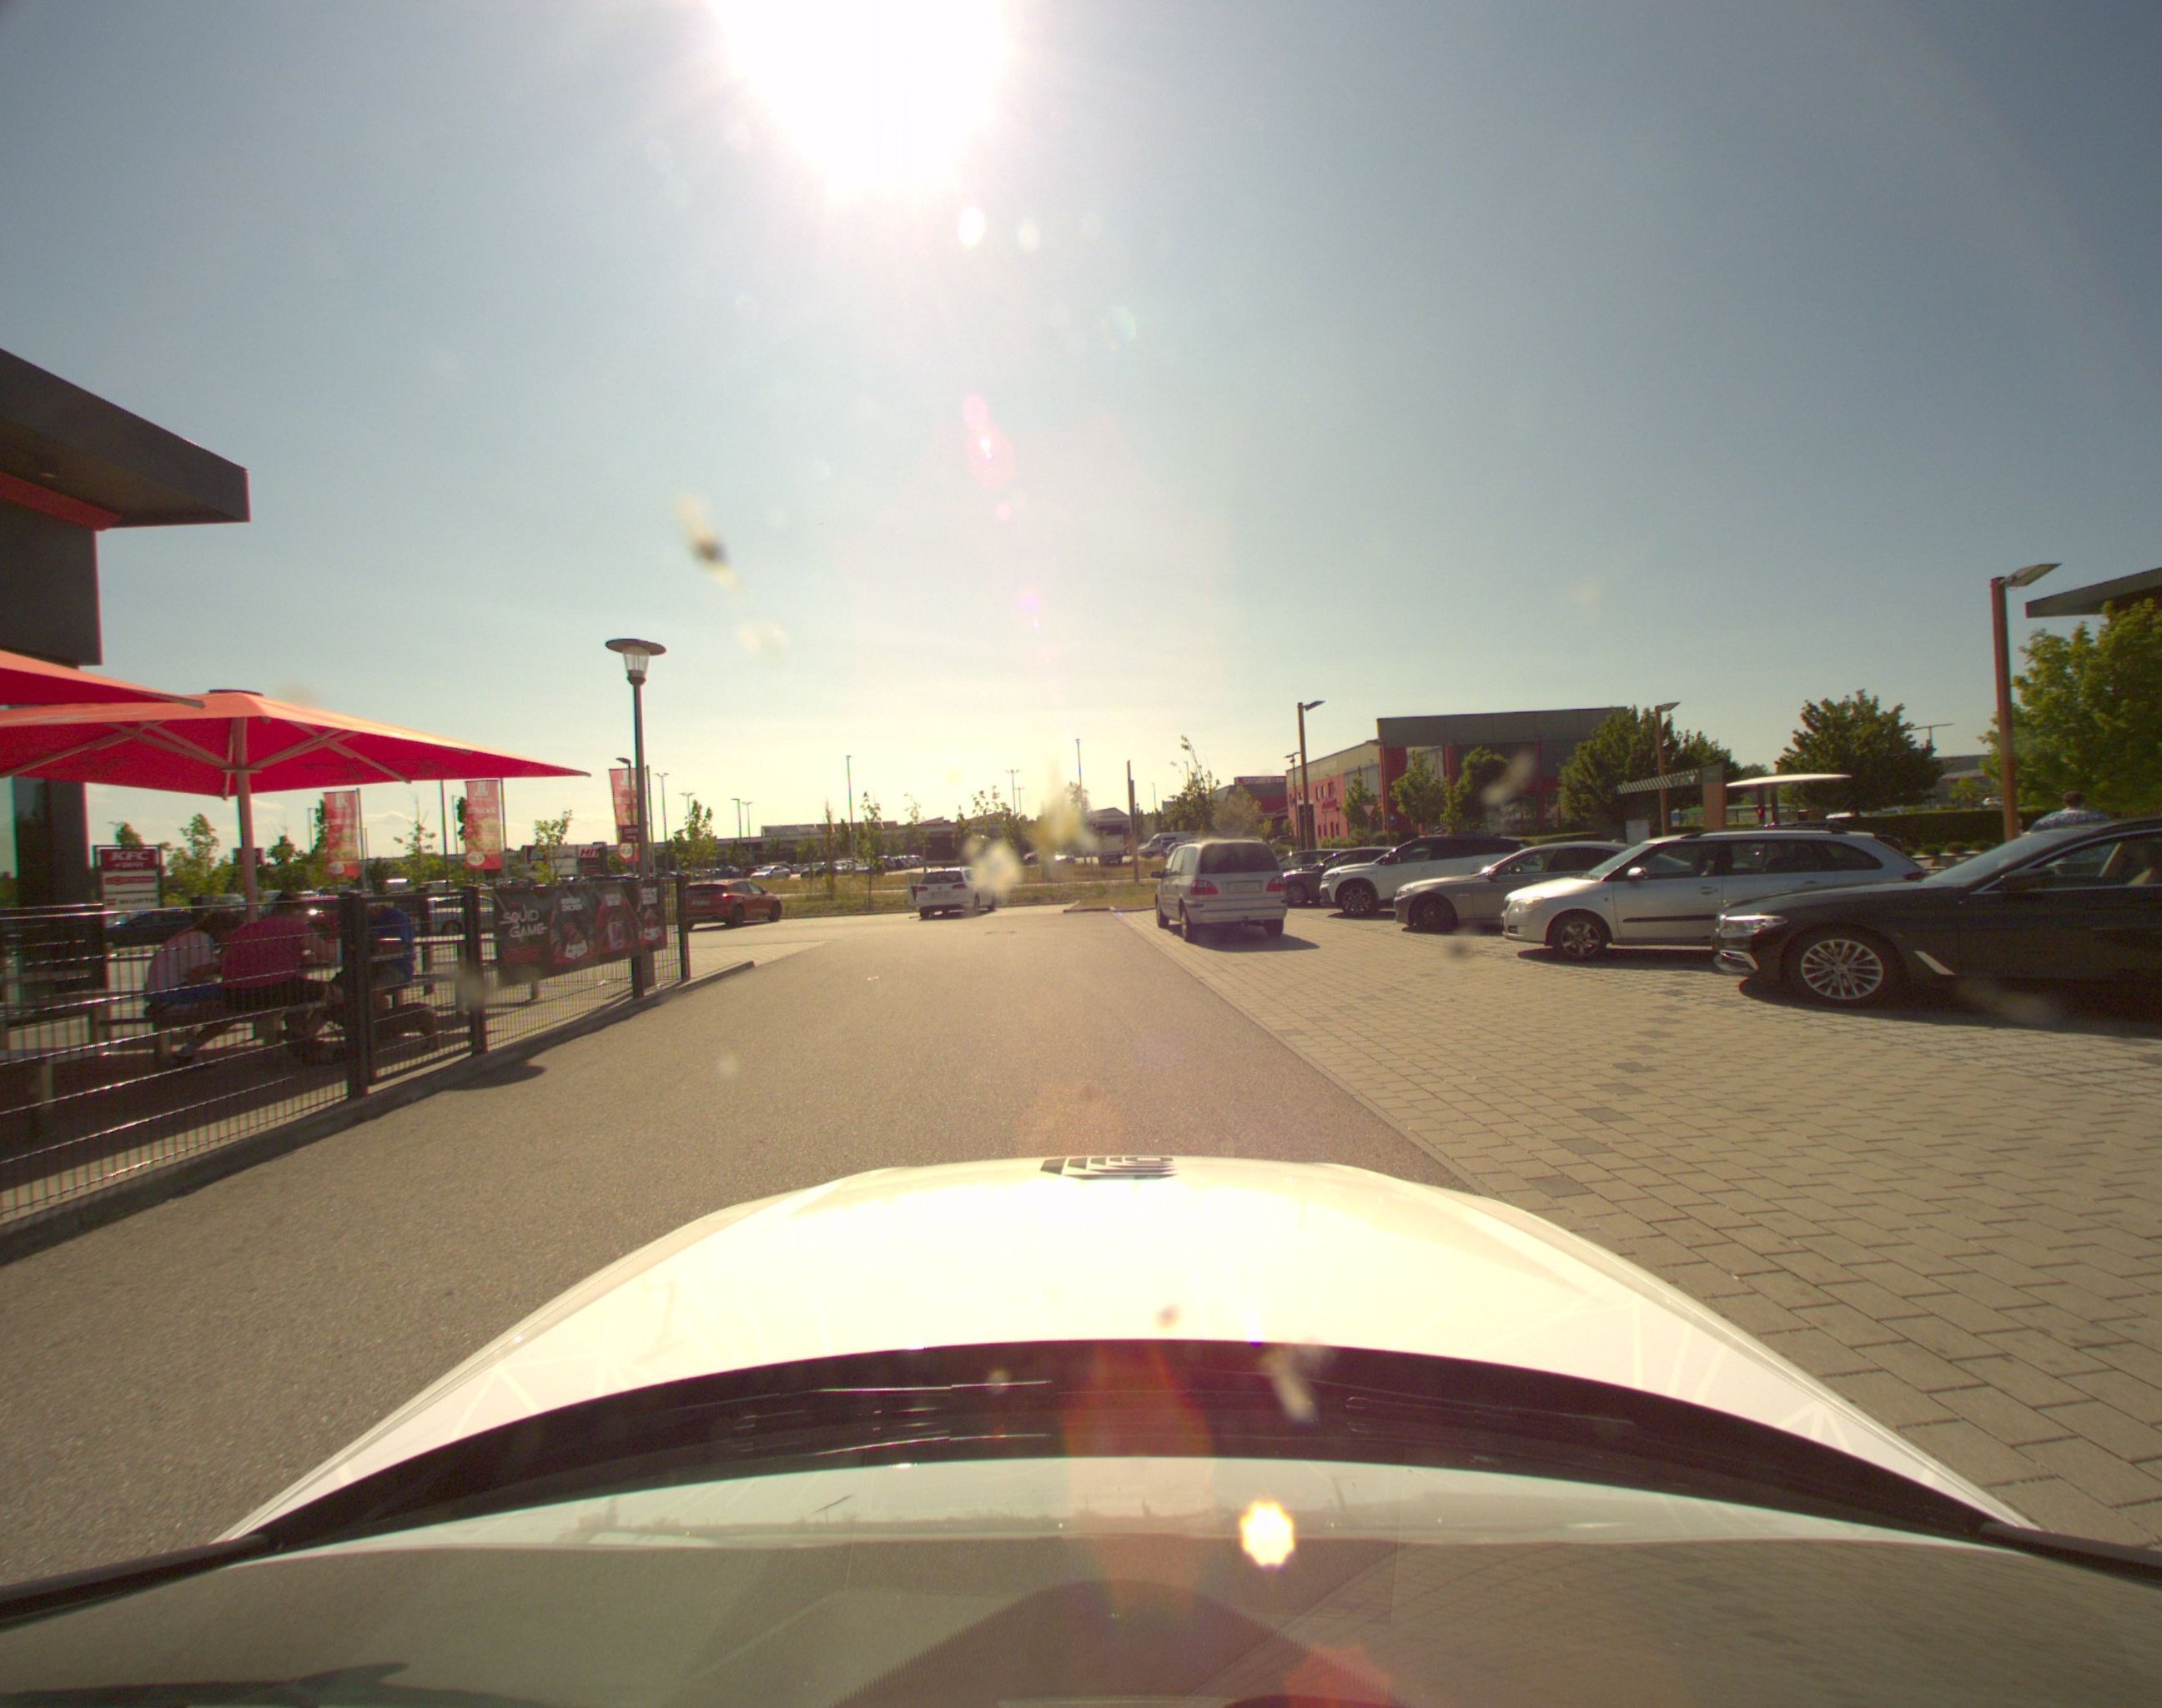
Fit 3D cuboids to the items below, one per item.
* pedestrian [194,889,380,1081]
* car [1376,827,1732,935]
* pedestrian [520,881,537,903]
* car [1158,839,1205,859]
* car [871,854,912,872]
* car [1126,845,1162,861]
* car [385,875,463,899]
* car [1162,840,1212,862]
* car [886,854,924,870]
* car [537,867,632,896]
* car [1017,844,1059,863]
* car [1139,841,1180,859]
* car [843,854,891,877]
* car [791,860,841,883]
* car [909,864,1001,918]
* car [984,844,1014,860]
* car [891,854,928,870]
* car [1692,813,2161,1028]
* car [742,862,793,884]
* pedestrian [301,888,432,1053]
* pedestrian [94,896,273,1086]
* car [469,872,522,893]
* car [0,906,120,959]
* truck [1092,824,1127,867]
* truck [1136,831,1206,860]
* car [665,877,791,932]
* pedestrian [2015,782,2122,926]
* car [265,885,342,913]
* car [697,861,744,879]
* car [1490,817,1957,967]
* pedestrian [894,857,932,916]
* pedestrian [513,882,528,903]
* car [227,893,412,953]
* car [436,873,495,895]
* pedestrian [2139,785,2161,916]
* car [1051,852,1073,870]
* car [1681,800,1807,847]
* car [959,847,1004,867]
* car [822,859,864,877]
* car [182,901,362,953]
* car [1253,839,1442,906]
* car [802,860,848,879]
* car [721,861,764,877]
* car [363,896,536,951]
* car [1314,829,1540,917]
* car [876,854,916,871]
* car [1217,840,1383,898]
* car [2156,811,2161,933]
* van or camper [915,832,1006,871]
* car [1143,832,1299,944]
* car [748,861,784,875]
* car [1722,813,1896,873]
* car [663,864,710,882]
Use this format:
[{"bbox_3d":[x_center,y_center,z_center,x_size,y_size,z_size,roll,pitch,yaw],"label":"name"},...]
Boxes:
[{"bbox_3d":[-5.948,0.932,6.160,0.685,1.273,0.836,-2,0,-20],"label":"pedestrian"},{"bbox_3d":[7.672,0.435,13.575,4.783,1.526,1.988,-2,0,34],"label":"car"},{"bbox_3d":[-41.743,2.901,61.520,0.747,1.599,0.696,-2,0,22],"label":"pedestrian"},{"bbox_3d":[10.261,-0.482,83.292,4.382,1.855,1.953,-2,0,-4],"label":"car"},{"bbox_3d":[-22.391,1.061,96.220,4.382,1.855,1.953,-2,0,-4],"label":"car"},{"bbox_3d":[8.160,-0.134,105.401,4.382,1.855,1.953,-2,0,-4],"label":"car"},{"bbox_3d":[-72.404,3.587,89.855,2.790,2.237,6.329,-2,0,10],"label":"car"},{"bbox_3d":[10.170,-0.295,78.099,4.382,1.855,1.953,-2,0,-4],"label":"car"},{"bbox_3d":[-22.574,1.063,104.536,4.382,1.855,1.953,-2,0,-4],"label":"car"},{"bbox_3d":[-33.754,1.848,55.471,5.190,1.731,1.989,-2,0,0],"label":"car"},{"bbox_3d":[-4.470,-0.058,84.194,4.245,1.855,1.867,-2,0,-4],"label":"car"},{"bbox_3d":[8.898,-0.431,92.851,4.382,1.855,1.953,-2,0,-4],"label":"car"},{"bbox_3d":[-19.184,1.018,73.198,1.933,1.855,4.427,-2,0,20],"label":"car"},{"bbox_3d":[-24.210,1.566,74.613,1.933,1.855,4.427,-2,0,20],"label":"car"},{"bbox_3d":[-3.841,1.093,25.532,1.819,1.469,4.486,-3,-1,4],"label":"car"},{"bbox_3d":[-11.454,-0.325,113.804,3.975,2.013,1.999,-2,0,-1],"label":"car"},{"bbox_3d":[-22.626,1.062,107.639,4.382,1.855,1.953,-2,0,-4],"label":"car"},{"bbox_3d":[7.938,0.449,6.564,4.721,1.486,1.988,-2,0,38],"label":"car"},{"bbox_3d":[-29.097,1.738,75.784,1.977,1.855,4.308,-2,0,20],"label":"car"},{"bbox_3d":[-6.036,0.949,6.916,0.614,1.273,0.620,-2,0,-20],"label":"pedestrian"},{"bbox_3d":[-6.655,0.976,6.078,0.685,1.273,0.547,-2,0,-20],"label":"pedestrian"},{"bbox_3d":[-62.441,3.032,86.894,1.977,2.013,4.111,-2,0,20],"label":"car"},{"bbox_3d":[-39.746,2.977,30.580,1.878,1.703,4.343,-3,-1,9],"label":"car"},{"bbox_3d":[2.504,-0.721,71.009,2.749,3.480,6.836,-2,0,2],"label":"truck"},{"bbox_3d":[9.501,-0.896,85.904,7.022,2.814,1.953,-2,0,-4],"label":"truck"},{"bbox_3d":[-11.194,1.551,26.205,1.819,1.469,4.359,-3,-1,5],"label":"car"},{"bbox_3d":[13.325,-0.003,11.023,0.775,1.849,0.824,-2,0,-42],"label":"pedestrian"},{"bbox_3d":[-57.391,3.302,60.143,4.361,1.845,2.008,-2,0,14],"label":"car"},{"bbox_3d":[-42.102,1.892,95.101,4.549,1.855,1.953,-2,0,-4],"label":"car"},{"bbox_3d":[7.431,0.442,10.066,4.154,1.526,1.987,-2,0,26],"label":"car"},{"bbox_3d":[-5.395,1.031,26.203,0.987,1.809,0.726,-3,-1,1],"label":"pedestrian"},{"bbox_3d":[-42.637,2.917,61.919,0.659,1.556,0.629,-2,0,22],"label":"pedestrian"},{"bbox_3d":[-25.711,2.279,27.733,1.933,1.638,4.242,-3,-1,9],"label":"car"},{"bbox_3d":[-66.952,3.244,88.709,1.983,2.013,5.189,-2,0,6],"label":"car"},{"bbox_3d":[14.799,-0.055,10.973,0.461,1.768,0.556,-3,0,34],"label":"pedestrian"},{"bbox_3d":[-1.642,0.558,71.562,1.644,1.459,3.968,-2,0,1],"label":"car"},{"bbox_3d":[34.690,-1.559,42.675,5.078,2.197,1.998,-2,0,-3],"label":"car"},{"bbox_3d":[-11.273,0.377,91.984,4.913,2.013,2.076,-2,0,-8],"label":"car"},{"bbox_3d":[-28.215,1.647,96.562,4.382,1.855,1.953,-2,0,-4],"label":"car"},{"bbox_3d":[-27.945,2.475,28.352,1.758,1.410,4.214,-3,-1,7],"label":"car"},{"bbox_3d":[6.742,0.474,20.704,4.152,1.526,1.988,-2,0,33],"label":"car"},{"bbox_3d":[-27.765,1.658,88.522,4.382,1.855,1.953,-2,0,-4],"label":"car"},{"bbox_3d":[-42.766,1.913,103.038,4.549,1.855,1.953,-2,0,-4],"label":"car"},{"bbox_3d":[-20.950,2.253,27.323,1.724,1.413,4.613,-3,-1,9],"label":"car"},{"bbox_3d":[7.312,0.412,17.321,4.154,1.654,1.987,-2,0,28],"label":"car"},{"bbox_3d":[-22.319,1.056,98.580,4.382,1.855,1.953,-2,0,-4],"label":"car"},{"bbox_3d":[6.496,0.457,24.385,4.277,1.526,1.988,-2,1,40],"label":"car"},{"bbox_3d":[7.922,0.417,3.051,4.313,1.459,1.848,-2,0,37],"label":"car"},{"bbox_3d":[-10.634,-0.203,71.694,7.952,3.101,2.434,-2,0,30],"label":"van or camper"},{"bbox_3d":[2.487,0.567,15.719,1.824,1.748,4.676,-3,0,-4],"label":"car"},{"bbox_3d":[-44.601,1.981,115.394,4.382,1.855,1.953,-2,0,-4],"label":"car"},{"bbox_3d":[23.818,-0.369,26.723,4.220,1.691,1.991,-3,0,-9],"label":"car"},{"bbox_3d":[-50.946,2.449,105.309,4.913,2.013,2.076,-2,0,-8],"label":"car"}]
